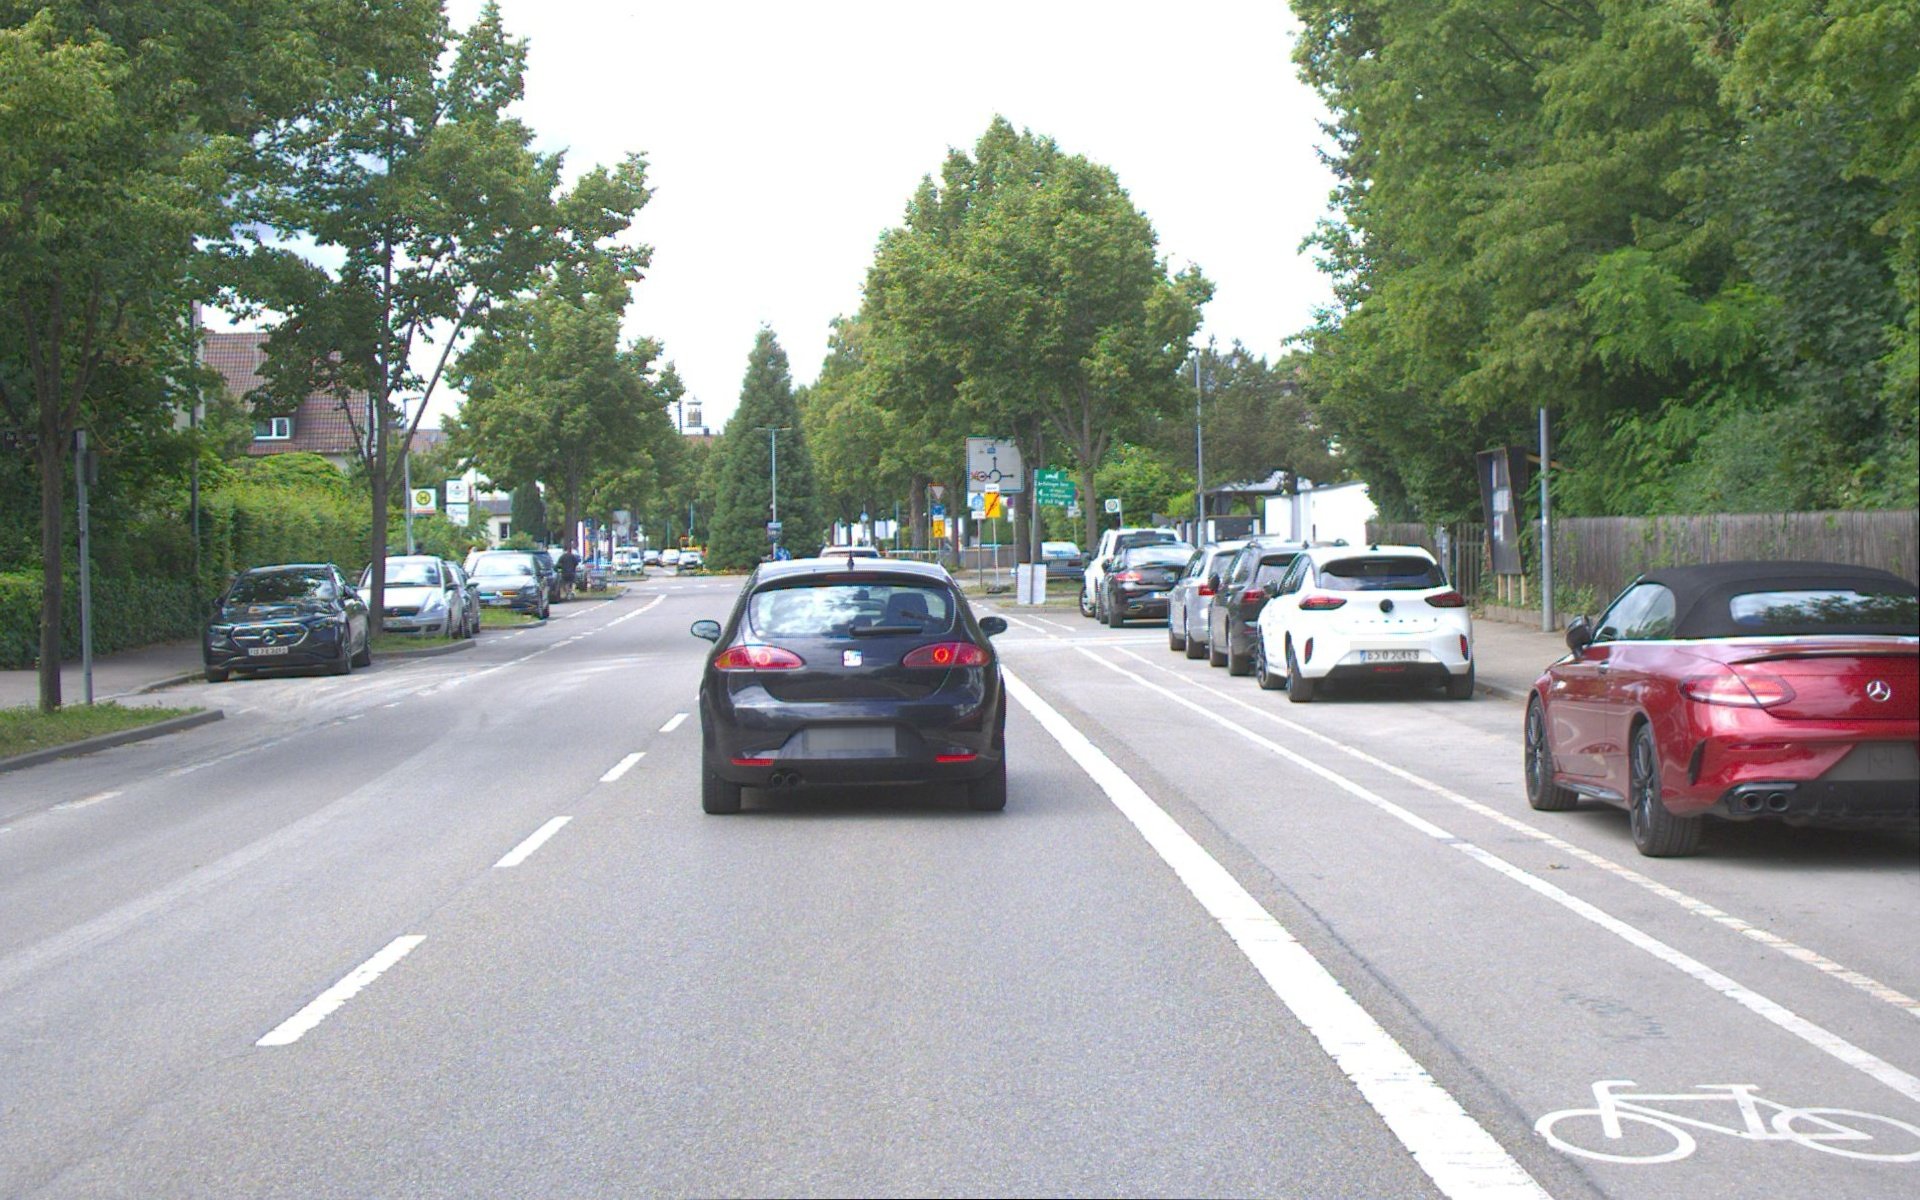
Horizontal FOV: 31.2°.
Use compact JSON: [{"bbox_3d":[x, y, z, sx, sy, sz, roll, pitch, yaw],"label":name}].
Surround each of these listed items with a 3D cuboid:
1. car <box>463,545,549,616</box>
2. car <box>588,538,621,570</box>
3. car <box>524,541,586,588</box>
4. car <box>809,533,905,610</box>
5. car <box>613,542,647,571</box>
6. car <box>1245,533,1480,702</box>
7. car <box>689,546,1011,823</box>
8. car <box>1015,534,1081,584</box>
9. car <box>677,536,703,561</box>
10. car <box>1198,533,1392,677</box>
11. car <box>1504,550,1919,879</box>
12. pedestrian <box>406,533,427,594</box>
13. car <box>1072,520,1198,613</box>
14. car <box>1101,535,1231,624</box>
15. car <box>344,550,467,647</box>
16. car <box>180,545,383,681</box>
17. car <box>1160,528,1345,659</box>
[{"bbox_3d":[-10.430,-0.470,79.238,1.677,1.546,4.273,-2,1,-4],"label":"car"},{"bbox_3d":[-22.716,-2.967,219.907,2.029,1.964,4.001,-2,1,-6],"label":"car"},{"bbox_3d":[-14.686,-1.300,124.847,1.860,1.648,4.295,-1,1,-2],"label":"car"},{"bbox_3d":[-2.248,-0.634,74.804,1.993,1.607,4.000,-1,1,-2],"label":"car"},{"bbox_3d":[-19.423,-2.554,202.328,1.797,1.596,4.001,-2,1,-4],"label":"car"},{"bbox_3d":[3.850,0.140,33.475,1.768,1.505,4.031,-1,1,0],"label":"car"},{"bbox_3d":[-0.610,0.427,20.675,1.732,1.481,4.000,1,1,0],"label":"car"},{"bbox_3d":[2.570,-1.188,101.097,1.611,1.372,4.387,-2,0,-2],"label":"car"},{"bbox_3d":[-18.396,-3.504,234.646,1.568,1.628,3.622,-2,1,-2],"label":"car"},{"bbox_3d":[3.728,0.010,38.936,1.702,1.505,4.538,0,1,-1],"label":"car"},{"bbox_3d":[4.146,0.493,17.778,1.859,1.408,4.444,1,2,-1],"label":"car"},{"bbox_3d":[-16.100,-1.080,101.789,0.503,1.800,0.671,-2,1,-3],"label":"pedestrian"},{"bbox_3d":[3.229,-0.625,64.280,1.900,1.637,4.117,-2,1,-3],"label":"car"},{"bbox_3d":[3.421,-0.374,57.776,1.863,1.412,4.603,-1,1,0],"label":"car"},{"bbox_3d":[-9.881,-0.054,61.488,1.718,1.607,3.911,-2,1,-3],"label":"car"},{"bbox_3d":[-9.198,0.122,47.001,2.095,1.641,5.039,-2,1,-4],"label":"car"},{"bbox_3d":[3.718,-0.105,44.455,1.861,1.605,4.687,0,1,-2],"label":"car"}]
